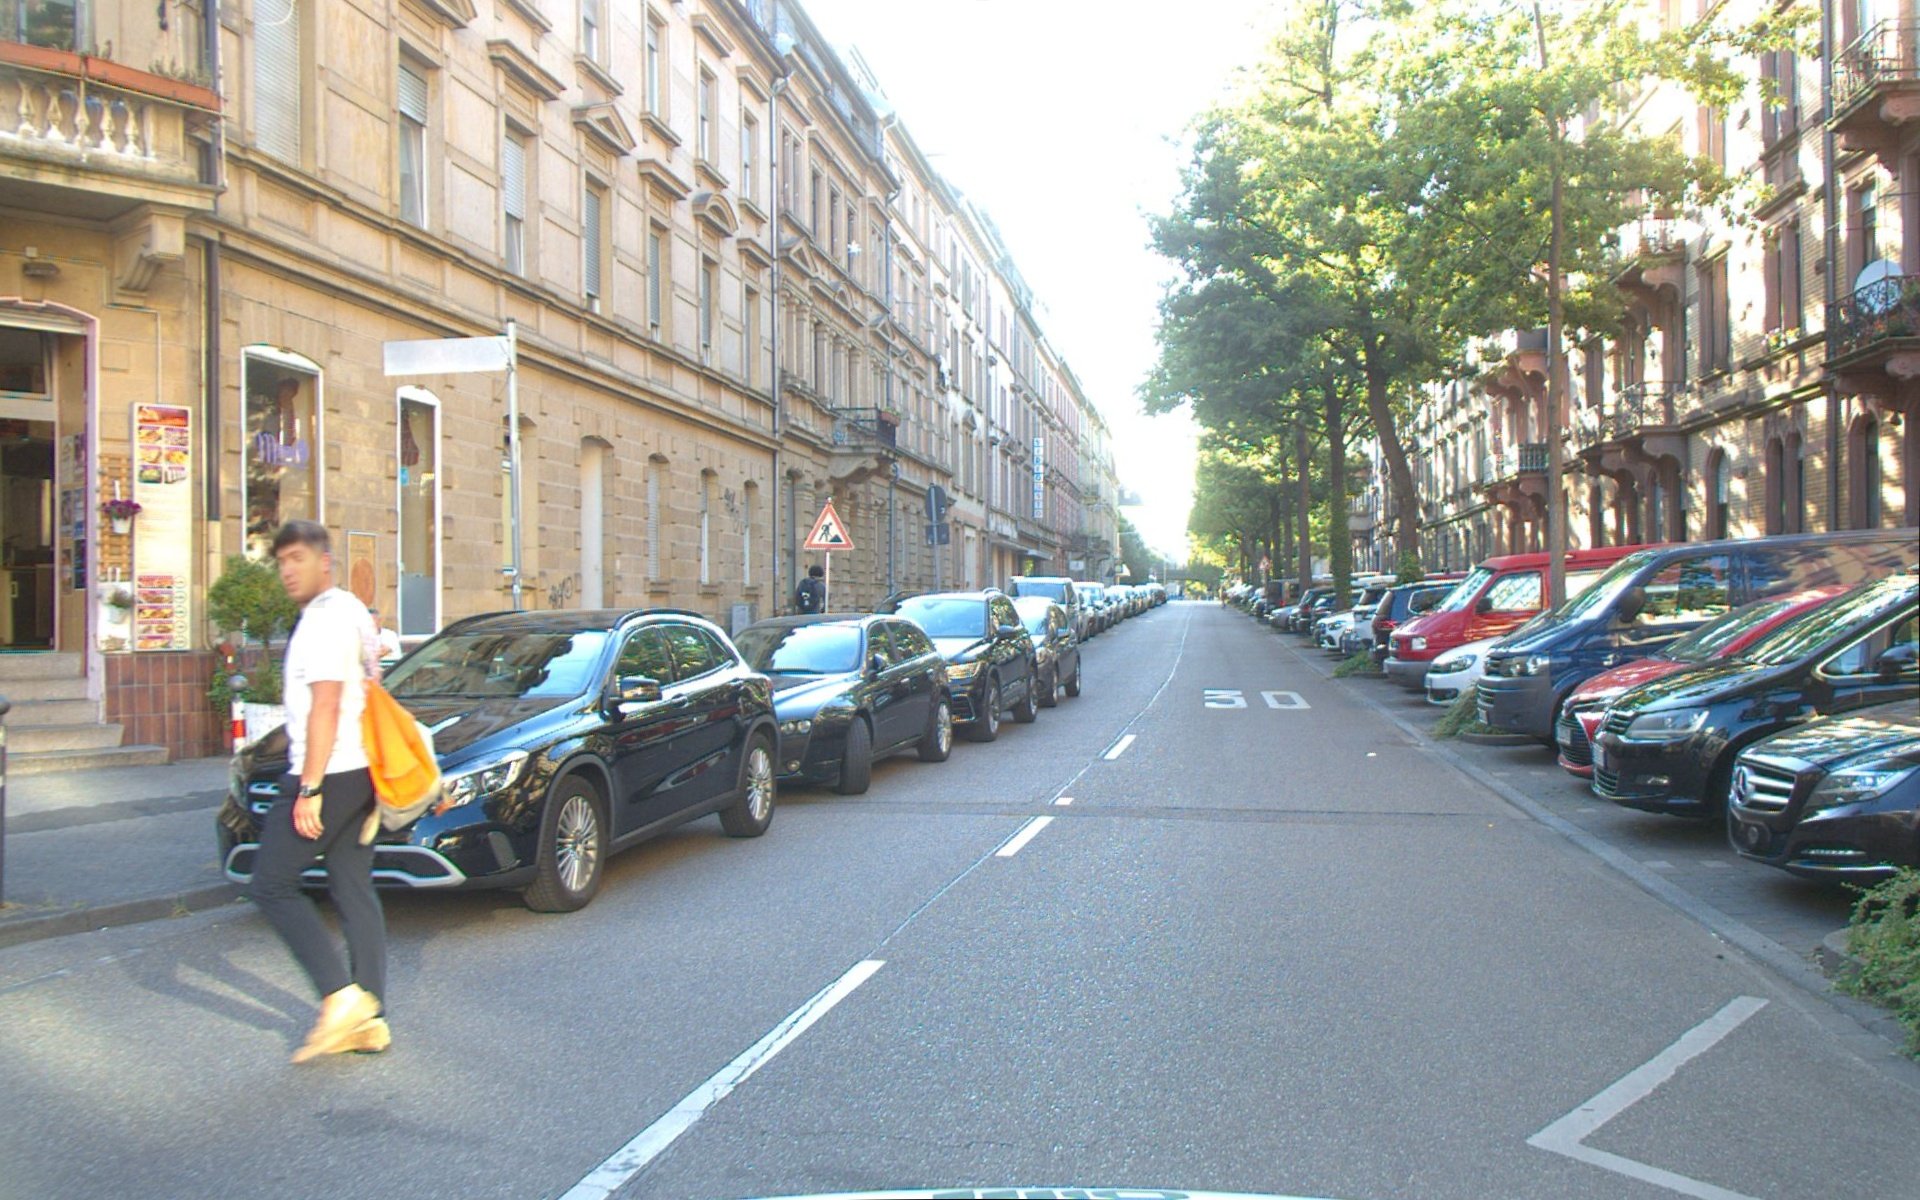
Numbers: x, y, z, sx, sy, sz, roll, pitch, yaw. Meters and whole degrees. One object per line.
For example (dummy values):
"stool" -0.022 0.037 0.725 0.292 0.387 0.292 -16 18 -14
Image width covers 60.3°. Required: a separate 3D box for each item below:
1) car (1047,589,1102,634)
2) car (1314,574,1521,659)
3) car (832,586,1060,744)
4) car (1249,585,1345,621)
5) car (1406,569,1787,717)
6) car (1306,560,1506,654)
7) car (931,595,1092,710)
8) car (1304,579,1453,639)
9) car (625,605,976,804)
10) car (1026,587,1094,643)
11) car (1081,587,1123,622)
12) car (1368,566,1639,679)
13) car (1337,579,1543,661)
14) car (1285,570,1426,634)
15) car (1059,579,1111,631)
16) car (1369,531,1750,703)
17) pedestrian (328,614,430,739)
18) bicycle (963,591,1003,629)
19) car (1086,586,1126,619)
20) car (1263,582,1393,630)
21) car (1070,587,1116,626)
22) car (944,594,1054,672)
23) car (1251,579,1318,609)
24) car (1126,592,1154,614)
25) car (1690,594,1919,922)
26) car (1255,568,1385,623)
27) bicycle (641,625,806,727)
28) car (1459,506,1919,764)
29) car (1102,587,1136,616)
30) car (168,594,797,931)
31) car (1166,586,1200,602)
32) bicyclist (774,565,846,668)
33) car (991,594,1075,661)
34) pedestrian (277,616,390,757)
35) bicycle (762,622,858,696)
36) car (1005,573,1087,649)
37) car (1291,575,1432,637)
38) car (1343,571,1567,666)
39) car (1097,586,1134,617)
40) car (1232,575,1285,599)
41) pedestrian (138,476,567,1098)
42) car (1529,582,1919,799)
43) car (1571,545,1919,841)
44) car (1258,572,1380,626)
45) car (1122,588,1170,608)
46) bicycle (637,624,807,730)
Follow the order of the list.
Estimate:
"car" 4.069 0.379 58.239 1.721 1.492 4.003 1 1 7
"car" 10.336 0.353 37.608 4.252 1.583 1.852 -4 1 8
"car" -0.024 0.683 19.856 1.721 1.628 4.554 -2 0 12
"car" 14.264 0.123 70.093 3.769 1.316 1.719 -3 0 5
"car" 7.653 0.517 20.254 3.968 1.536 1.880 -3 -1 8
"car" 10.749 0.148 40.140 4.350 1.957 1.851 -4 1 6
"car" 0.856 0.729 24.874 1.721 1.527 4.063 -2 0 11
"car" 11.977 0.252 47.518 3.925 1.493 1.735 -3 -1 8
"car" -1.226 0.819 14.920 1.721 1.477 4.554 -2 0 14
"car" 3.172 0.422 51.769 1.716 1.636 4.388 1 1 8
"car" 6.399 0.175 74.106 1.721 1.498 4.062 -1 0 7
"car" 9.094 0.375 28.001 4.097 1.656 1.839 -3 -1 11
"car" 10.151 0.414 35.236 3.925 1.459 1.796 -4 -1 8
"car" 12.586 0.061 52.823 4.131 1.807 1.836 -3 0 7
"car" 4.800 0.144 63.057 1.721 1.874 4.533 -1 0 7
"car" 8.222 0.239 23.040 4.576 2.069 1.880 -3 -1 5
"pedestrian" -5.891 0.765 16.797 0.710 1.235 0.757 -1 0 6
"bicycle" 0.885 0.365 61.433 1.019 1.341 4.003 0 1 7
"car" 6.996 0.089 78.943 1.721 1.498 4.062 -1 0 7
"car" 12.848 0.206 57.925 4.132 1.428 1.836 -3 0 4
"car" 5.506 0.242 68.064 1.721 1.498 4.062 -1 0 7
"car" 0.911 0.678 35.847 1.721 1.527 4.063 -2 0 11
"car" 19.929 -0.365 101.662 3.771 1.601 1.718 -3 0 0
"car" 13.300 0.250 122.187 1.951 1.512 4.003 -1 -2 7
"car" 6.251 0.632 7.928 4.683 1.437 1.853 -3 -1 11
"car" 14.575 -0.198 67.153 4.949 1.959 1.837 -3 0 8
"bicycle" -2.770 0.877 19.410 1.827 1.148 0.529 0 0 11
"car" 7.431 0.317 15.615 4.914 2.253 1.994 -1 0 7
"car" 8.673 0.081 89.842 1.721 1.498 4.062 -1 0 7
"car" -2.437 0.755 9.643 1.721 1.514 4.142 -2 0 12
"car" 26.969 -0.751 200.291 3.902 1.891 1.752 0 0 16
"bicyclist" -2.734 0.284 30.324 0.974 1.821 1.209 -2 1 10
"car" 1.831 0.626 40.333 1.558 1.501 3.703 1 1 10
"pedestrian" -5.880 0.797 15.544 0.710 1.281 0.757 -1 0 6
"bicycle" -2.706 1.054 30.318 0.974 1.178 2.926 -2 1 10
"car" 2.465 0.263 46.044 1.793 1.977 5.264 1 1 8
"car" 12.097 0.174 49.994 3.925 1.635 1.735 -3 -1 8
"car" 9.745 0.364 32.814 3.925 1.656 1.806 -3 -1 7
"car" 8.030 0.054 85.116 1.721 1.498 4.062 -1 0 7
"car" 22.369 -0.979 123.950 3.768 1.601 1.719 -3 0 7
"pedestrian" -2.006 0.587 5.592 1.091 1.932 0.843 -1 0 4
"car" 6.678 0.658 12.844 4.018 1.561 1.726 -1 0 9
"car" 6.416 0.507 10.385 4.587 1.708 1.853 -3 -1 14
"car" 13.761 -0.056 63.493 4.146 1.826 1.830 -3 0 -11
"car" 14.925 -0.172 132.601 1.963 1.512 3.978 -2 -2 40
"bicycle" -2.698 0.857 18.761 1.827 1.148 0.529 0 0 11
